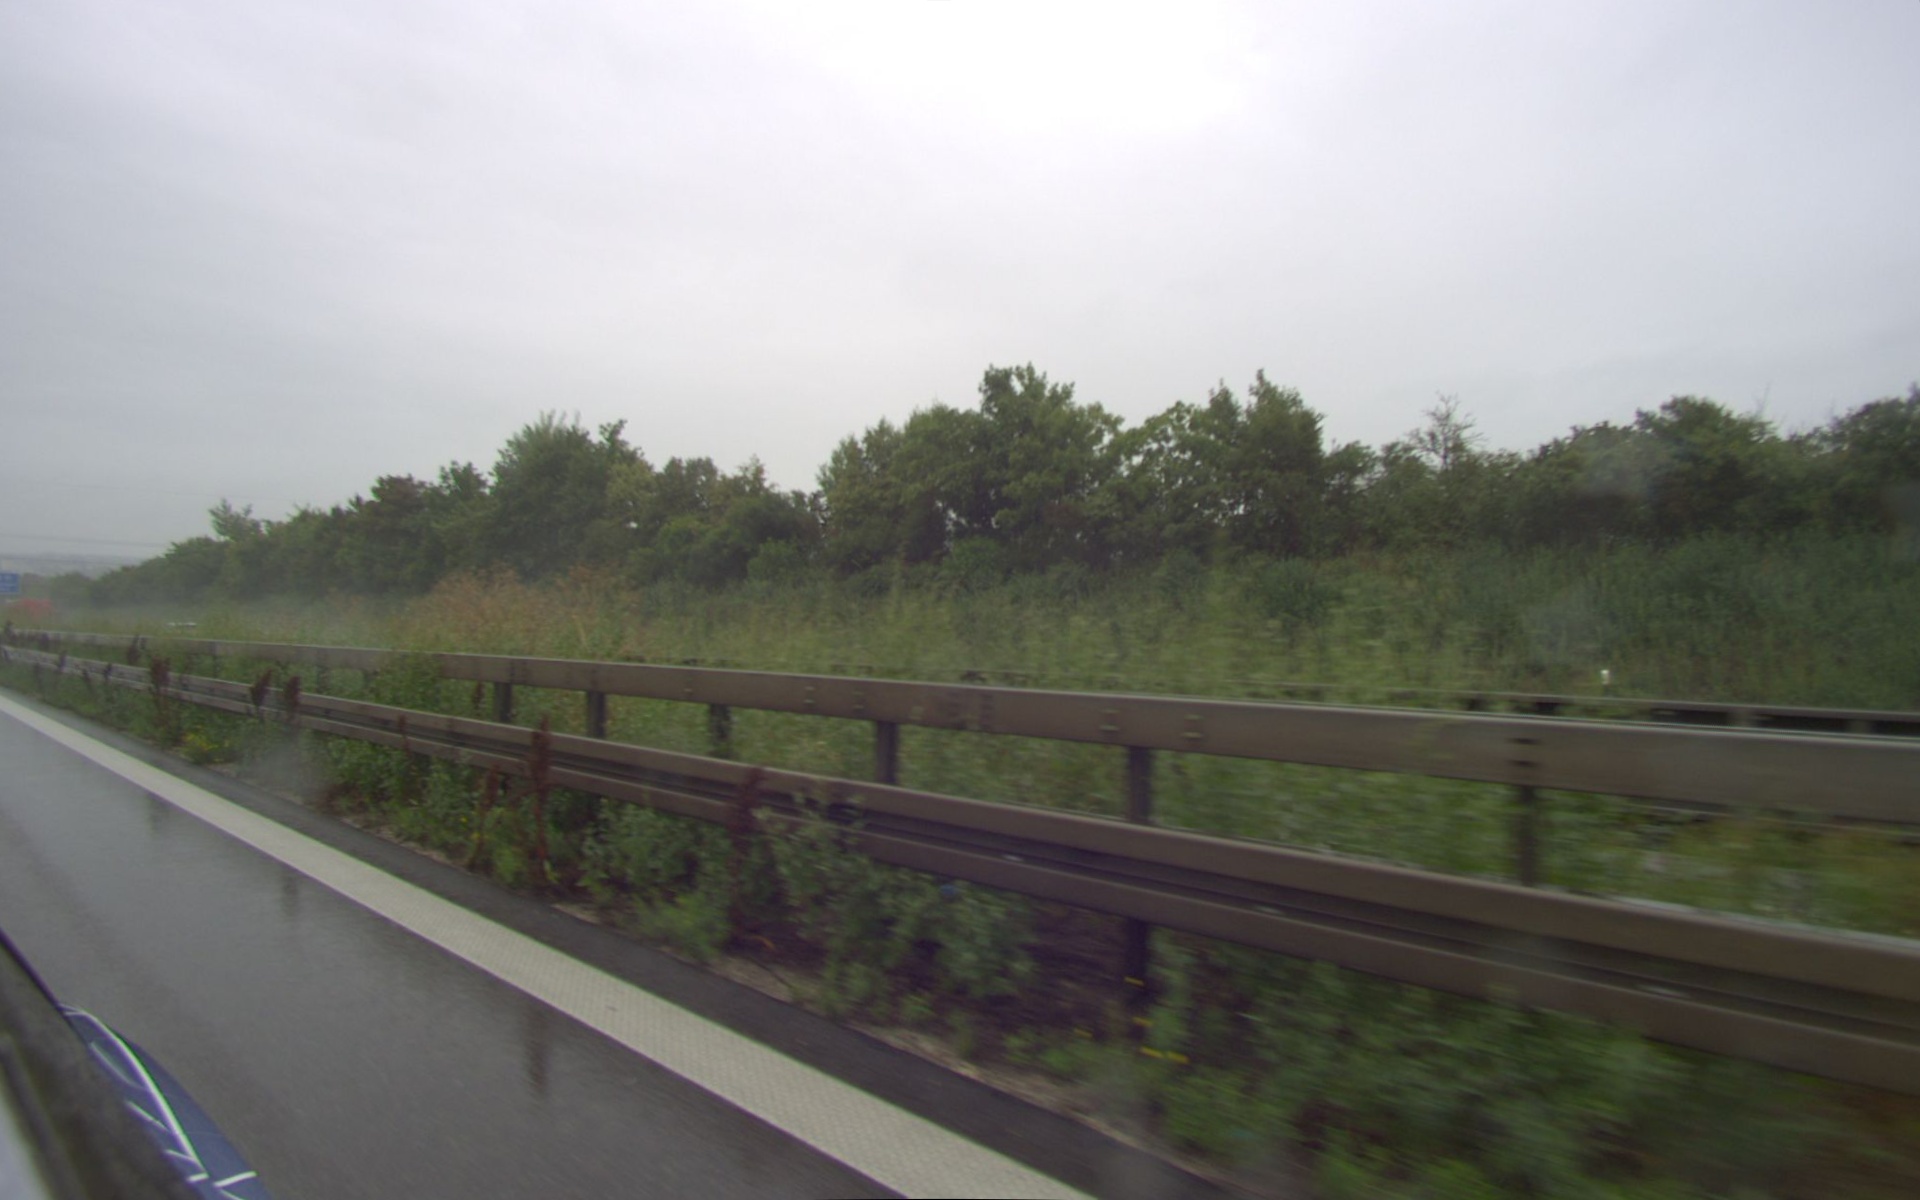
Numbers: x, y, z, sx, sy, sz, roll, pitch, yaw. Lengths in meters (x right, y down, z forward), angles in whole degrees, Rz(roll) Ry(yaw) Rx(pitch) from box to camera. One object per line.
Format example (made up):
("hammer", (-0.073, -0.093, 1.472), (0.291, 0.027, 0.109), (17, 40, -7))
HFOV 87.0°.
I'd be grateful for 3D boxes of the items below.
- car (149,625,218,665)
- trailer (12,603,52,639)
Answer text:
("car", (-40.122, 2.278, 52.244), (4.803, 1.911, 1.973), (-1, -1, 41))
("trailer", (-113.245, 2.523, 123.504), (8.485, 4.262, 2.669), (-1, -1, 41))
